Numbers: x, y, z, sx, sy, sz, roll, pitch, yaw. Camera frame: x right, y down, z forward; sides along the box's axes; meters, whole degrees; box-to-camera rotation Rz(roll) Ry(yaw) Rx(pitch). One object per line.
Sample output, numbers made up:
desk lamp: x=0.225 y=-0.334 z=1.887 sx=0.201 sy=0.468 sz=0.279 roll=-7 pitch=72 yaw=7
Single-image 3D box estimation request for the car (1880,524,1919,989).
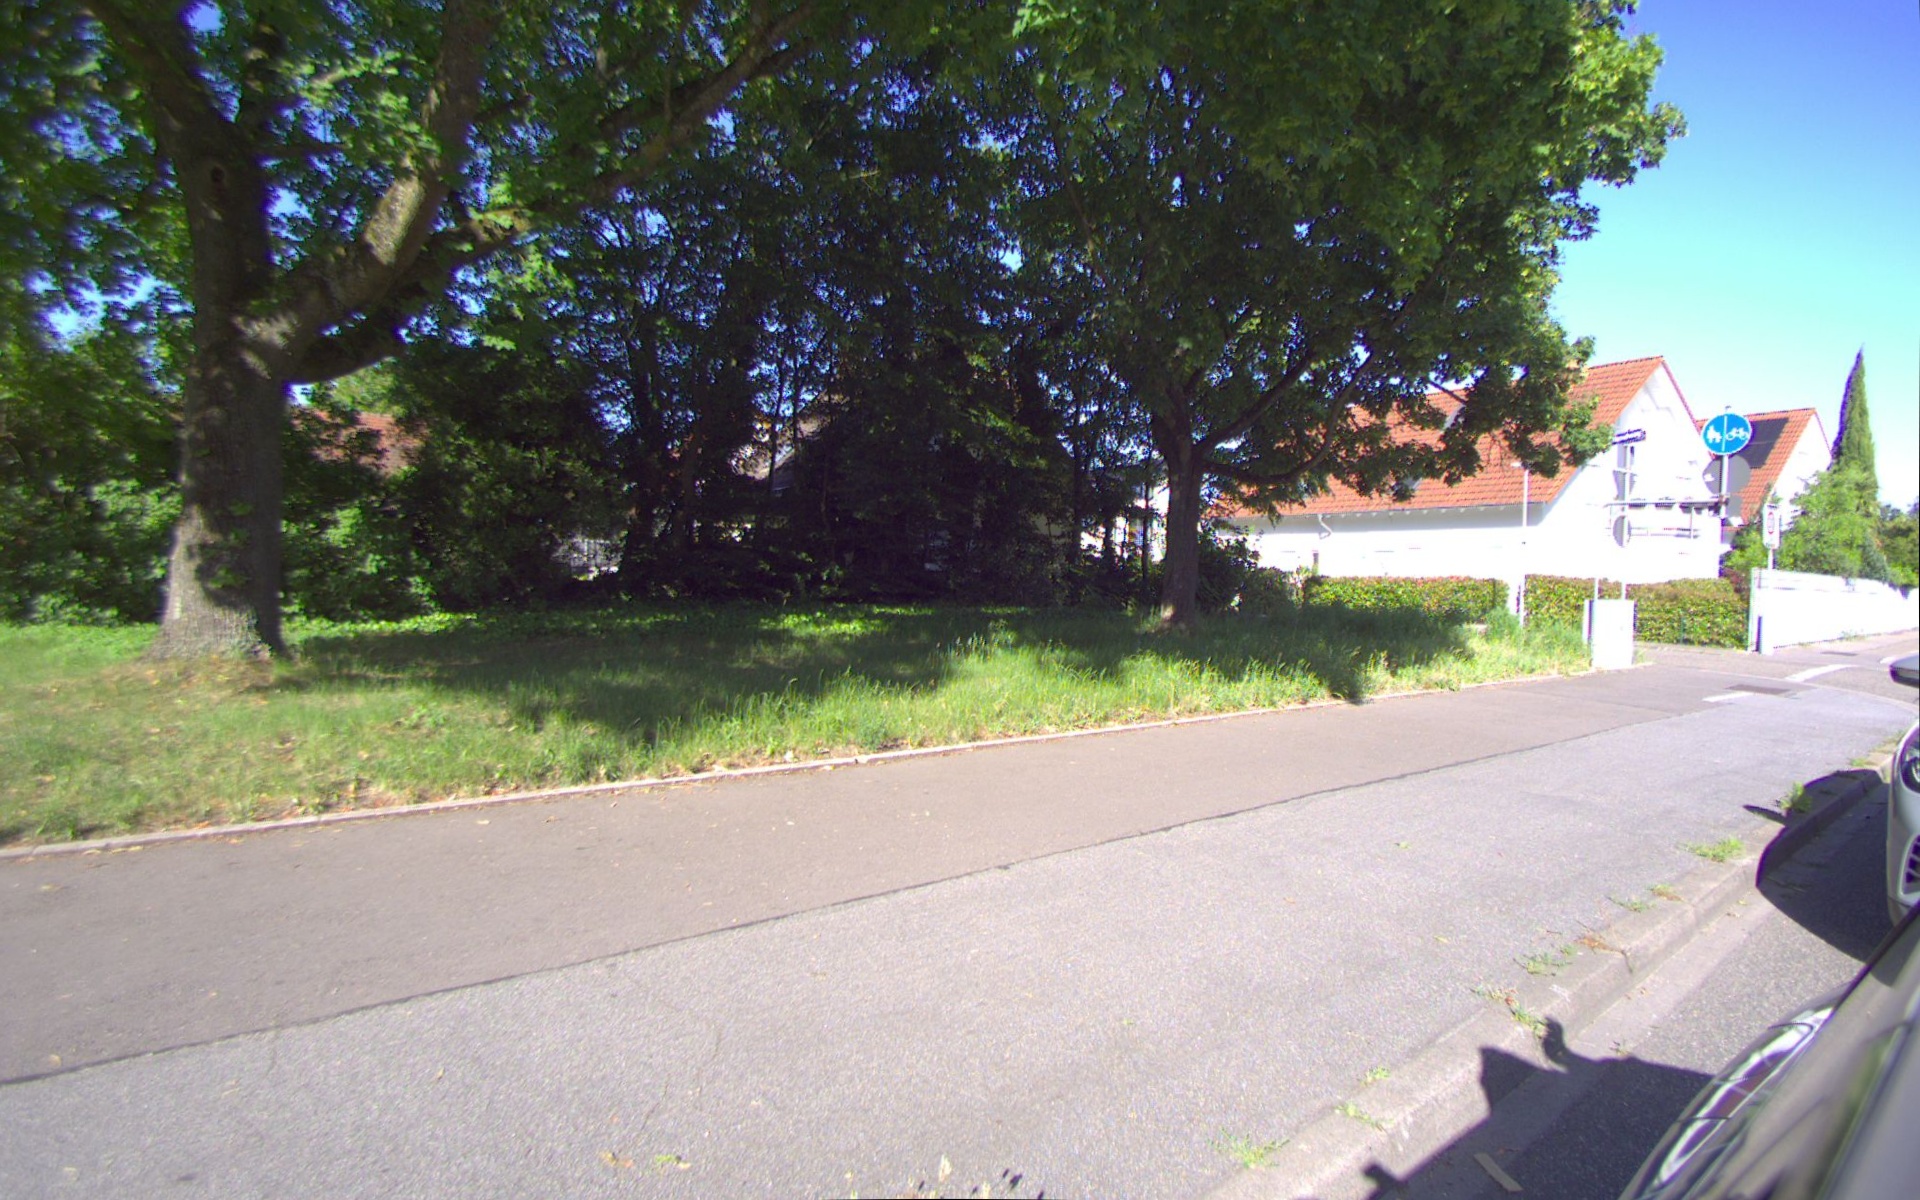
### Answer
car: x=5.638 y=0.597 z=4.433 sx=4.133 sy=1.710 sz=1.857 roll=0 pitch=3 yaw=-41
